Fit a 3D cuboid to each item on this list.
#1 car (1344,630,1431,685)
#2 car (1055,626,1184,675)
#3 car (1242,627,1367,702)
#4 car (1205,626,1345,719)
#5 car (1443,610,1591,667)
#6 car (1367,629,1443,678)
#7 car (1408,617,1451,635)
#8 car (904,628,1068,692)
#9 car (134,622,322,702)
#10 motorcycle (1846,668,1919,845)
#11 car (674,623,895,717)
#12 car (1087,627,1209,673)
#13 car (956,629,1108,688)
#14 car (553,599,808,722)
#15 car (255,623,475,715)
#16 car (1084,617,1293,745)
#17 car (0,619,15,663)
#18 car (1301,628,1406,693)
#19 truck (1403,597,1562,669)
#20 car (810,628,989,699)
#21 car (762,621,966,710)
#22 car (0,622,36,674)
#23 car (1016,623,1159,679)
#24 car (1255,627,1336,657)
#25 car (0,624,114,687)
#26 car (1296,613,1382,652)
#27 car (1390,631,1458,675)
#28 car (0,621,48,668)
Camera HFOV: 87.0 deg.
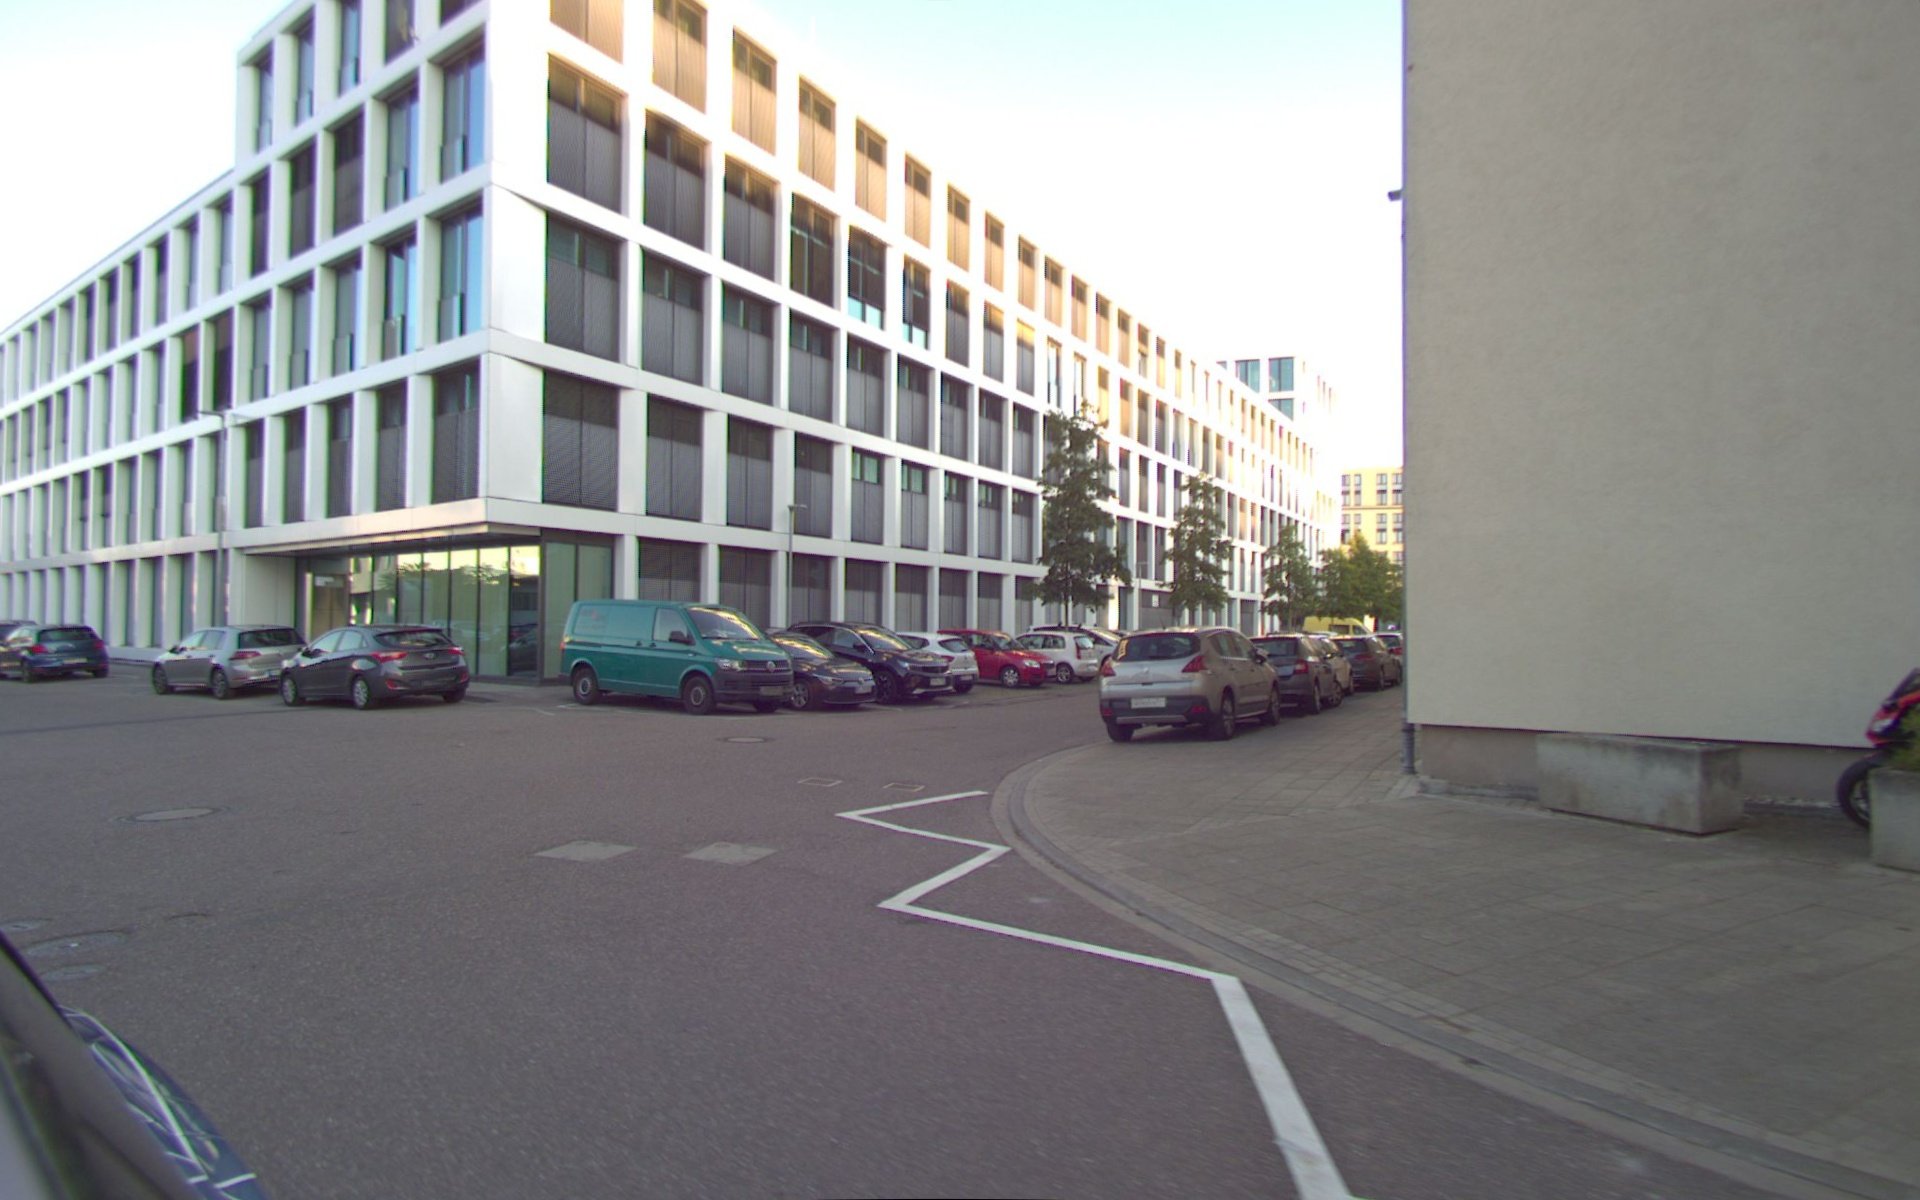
[{"bbox_3d":[13.203,1.742,31.123,1.874,1.495,3.907,-6,-5,30],"label":"car"},{"bbox_3d":[5.665,1.770,36.178,4.211,1.521,1.716,1,-1,33],"label":"car"},{"bbox_3d":[7.995,1.459,23.297,1.874,1.495,3.907,-6,-5,30],"label":"car"},{"bbox_3d":[6.119,1.346,19.376,1.871,1.512,3.984,-5,-4,26],"label":"car"},{"bbox_3d":[22.415,1.579,40.851,4.983,1.928,2.314,-6,-5,31],"label":"car"},{"bbox_3d":[15.408,1.823,34.949,1.874,1.495,3.907,-6,-5,30],"label":"car"},{"bbox_3d":[74.956,4.120,161.735,5.955,2.867,2.323,0,-2,20],"label":"car"},{"bbox_3d":[0.672,1.585,27.669,4.186,1.467,1.716,1,-1,33],"label":"car"},{"bbox_3d":[-15.716,1.269,21.687,4.168,1.490,1.698,-1,1,30],"label":"car"},{"bbox_3d":[6.746,0.995,6.023,0.713,1.087,2.086,1,-2,-33],"label":"motorcycle"},{"bbox_3d":[-3.580,1.322,20.377,4.318,1.561,1.765,1,-1,33],"label":"car"},{"bbox_3d":[7.085,1.839,38.271,4.211,1.521,1.716,1,-1,33],"label":"car"},{"bbox_3d":[2.096,1.678,29.973,4.186,1.467,1.716,1,-1,33],"label":"car"},{"bbox_3d":[-5.146,0.998,18.406,4.674,1.995,1.784,0,-2,32],"label":"car"},{"bbox_3d":[-11.019,1.189,18.665,4.317,1.490,1.766,-1,-1,33],"label":"car"},{"bbox_3d":[3.573,1.175,15.303,1.874,1.630,3.978,-6,-5,30],"label":"car"},{"bbox_3d":[-34.328,1.413,33.901,1.683,1.523,3.623,-2,-1,34],"label":"car"},{"bbox_3d":[10.429,1.565,26.652,1.874,1.495,3.907,-6,-5,30],"label":"car"},{"bbox_3d":[23.348,1.535,45.344,5.979,2.743,2.314,-6,-5,31],"label":"truck"},{"bbox_3d":[-1.526,1.497,24.985,4.186,1.467,1.716,1,-1,33],"label":"car"},{"bbox_3d":[-2.165,1.361,22.349,4.318,1.672,1.716,1,-1,33],"label":"car"},{"bbox_3d":[-29.144,1.425,29.972,4.190,1.449,1.635,-1,1,34],"label":"car"},{"bbox_3d":[4.275,1.666,34.200,4.451,1.624,1.716,1,-1,33],"label":"car"},{"bbox_3d":[19.742,2.445,59.565,4.211,1.521,1.716,1,-1,33],"label":"car"},{"bbox_3d":[-24.154,1.406,26.629,4.170,1.449,1.636,-1,1,32],"label":"car"},{"bbox_3d":[27.044,2.286,72.252,5.494,2.554,1.718,1,-1,29],"label":"car"},{"bbox_3d":[17.902,2.007,38.951,1.874,1.495,3.907,-6,-5,30],"label":"car"},{"bbox_3d":[-32.042,1.454,32.448,1.684,1.523,3.892,-2,-1,35],"label":"car"}]
